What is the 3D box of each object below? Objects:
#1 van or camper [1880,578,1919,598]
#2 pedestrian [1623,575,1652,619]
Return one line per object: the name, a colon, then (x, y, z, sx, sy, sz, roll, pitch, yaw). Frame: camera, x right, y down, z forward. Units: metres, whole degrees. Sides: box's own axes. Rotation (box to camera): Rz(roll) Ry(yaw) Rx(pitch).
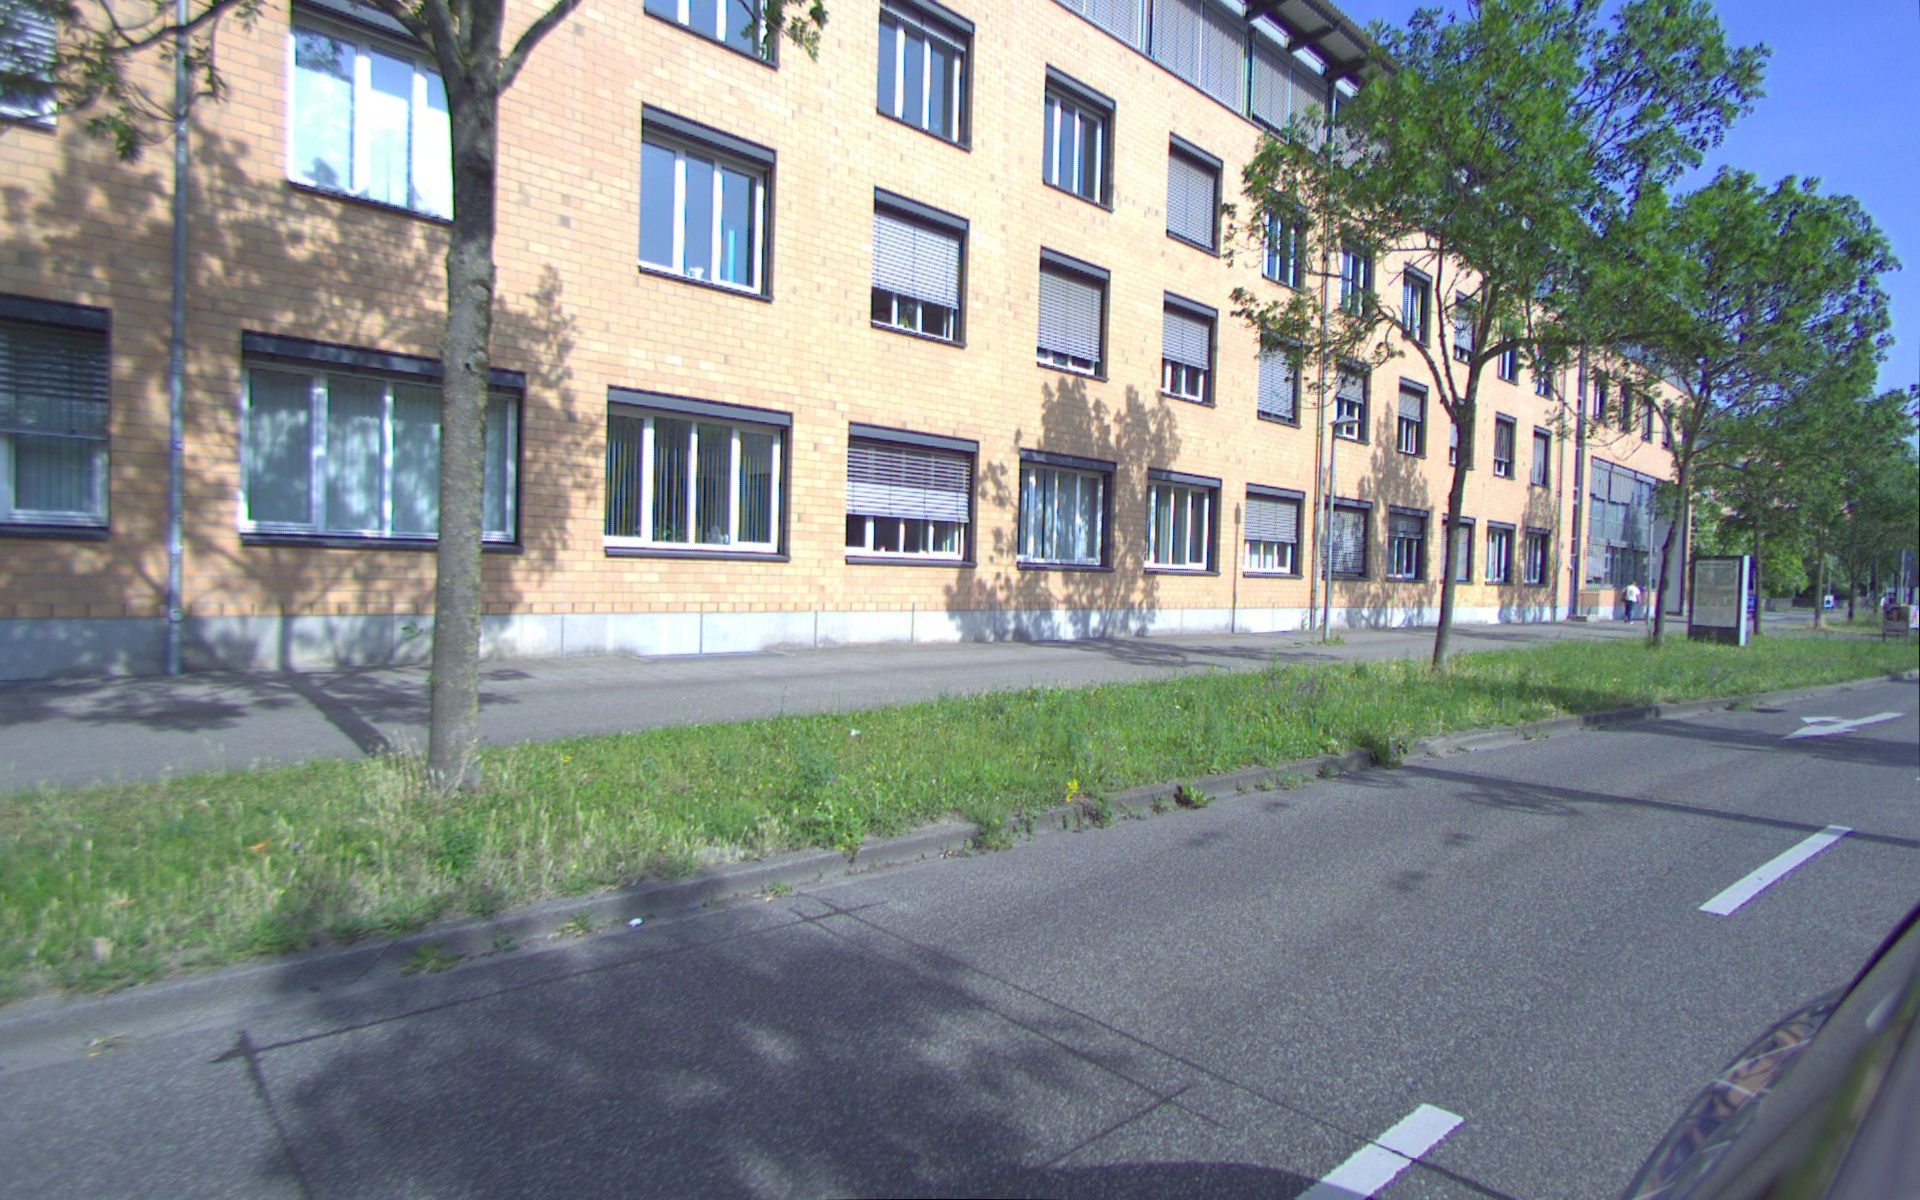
van or camper: (128.376, -1.618, 136.902, 5.786, 2.727, 2.370, 0, 1, 45)
pedestrian: (26.382, -0.129, 39.413, 0.760, 1.676, 0.697, -1, 3, -42)
